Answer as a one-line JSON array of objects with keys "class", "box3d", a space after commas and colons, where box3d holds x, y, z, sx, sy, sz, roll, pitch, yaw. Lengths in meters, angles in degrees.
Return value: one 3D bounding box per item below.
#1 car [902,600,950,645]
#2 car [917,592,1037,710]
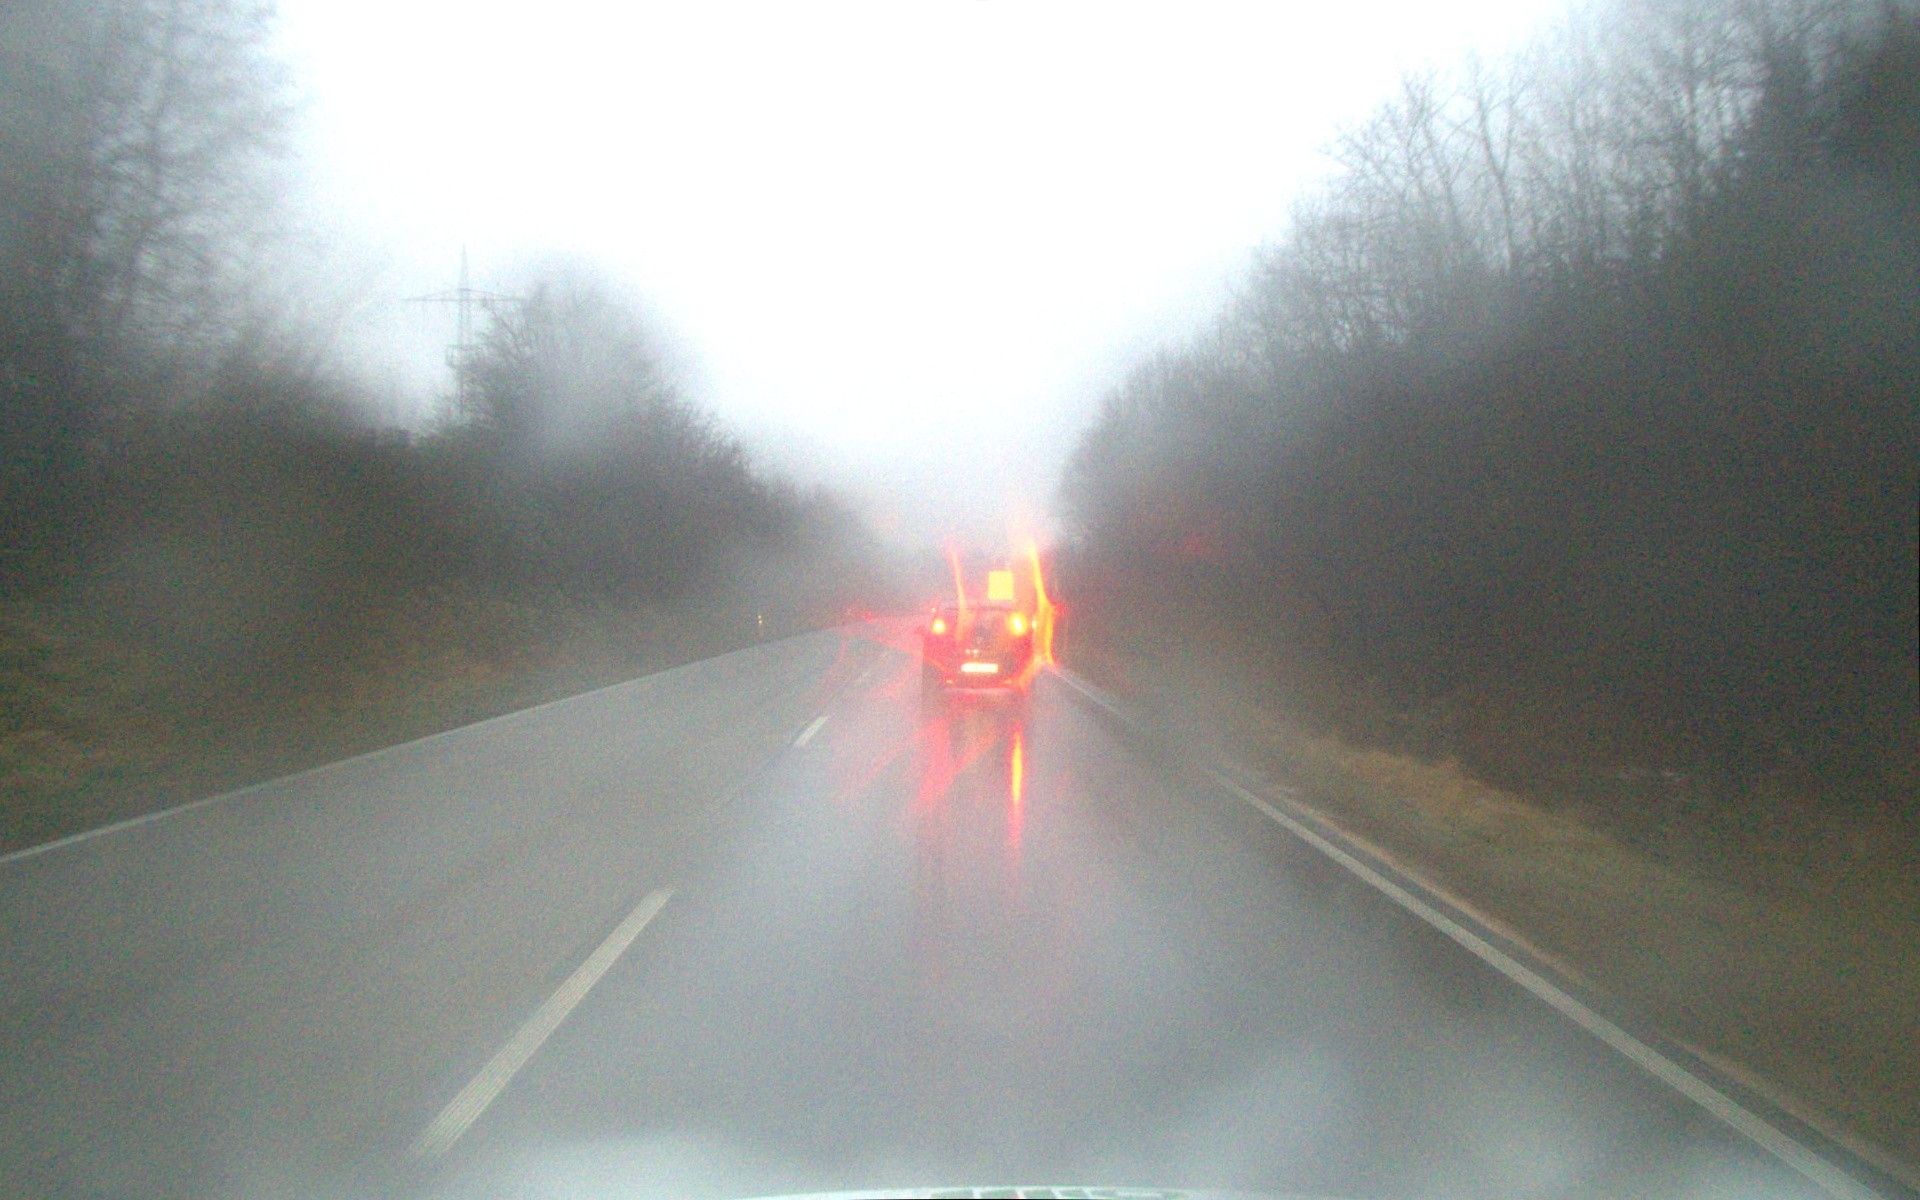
[{"class": "car", "box3d": [-1.251, 0.829, 62.539, 1.692, 1.672, 4.000, 0, 0, 1]}, {"class": "car", "box3d": [0.264, 0.725, 25.391, 1.692, 1.672, 4.000, 0, 0, 1]}]
